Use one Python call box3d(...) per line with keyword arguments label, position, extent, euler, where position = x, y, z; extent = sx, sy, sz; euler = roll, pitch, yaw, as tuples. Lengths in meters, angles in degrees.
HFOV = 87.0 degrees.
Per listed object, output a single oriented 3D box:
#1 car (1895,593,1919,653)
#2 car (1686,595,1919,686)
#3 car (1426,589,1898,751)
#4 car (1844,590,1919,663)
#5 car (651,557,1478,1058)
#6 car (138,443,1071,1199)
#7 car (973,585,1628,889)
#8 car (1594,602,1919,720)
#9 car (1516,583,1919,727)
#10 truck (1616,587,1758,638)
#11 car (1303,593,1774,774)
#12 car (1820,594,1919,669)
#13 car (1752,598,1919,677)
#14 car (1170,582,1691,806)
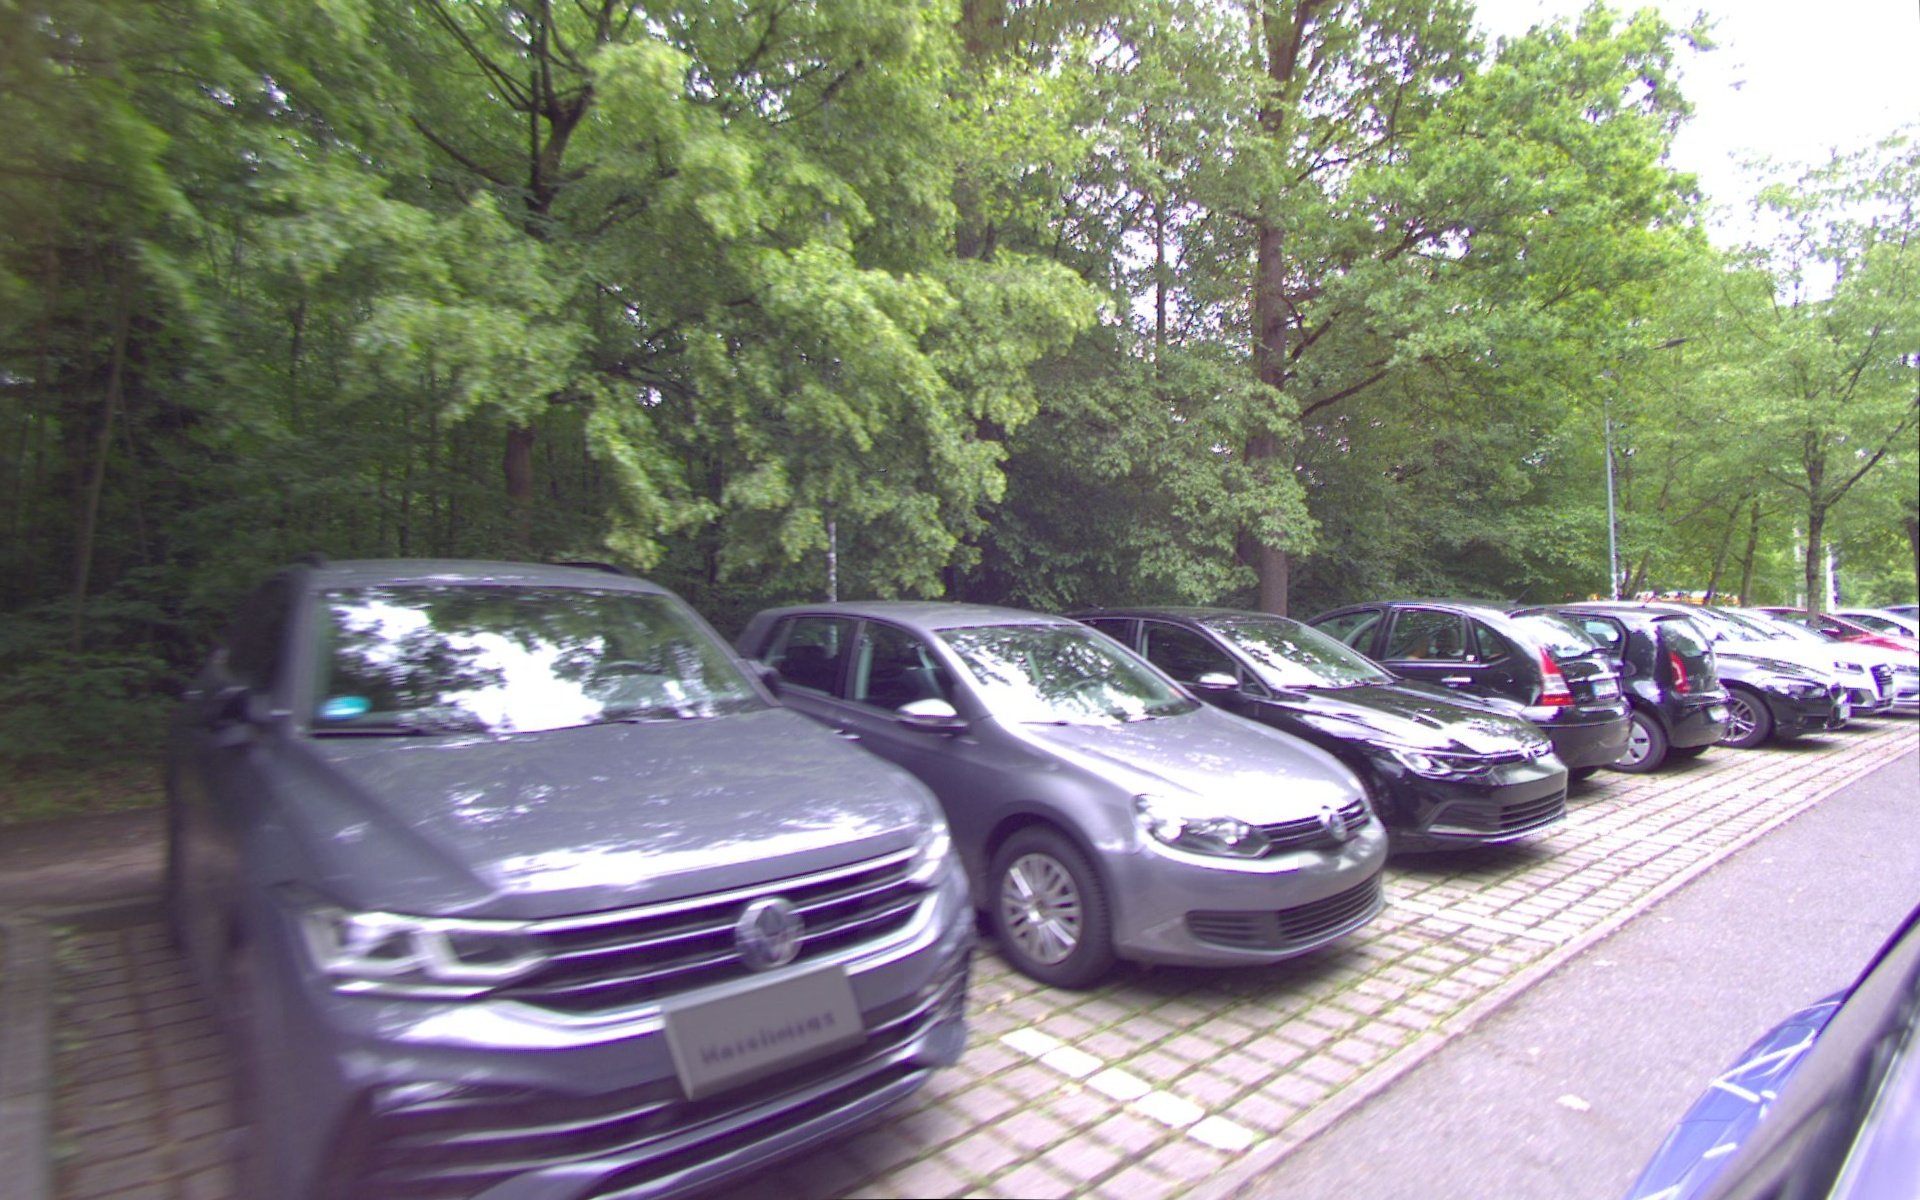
box3d(label="car", position=(25.905, 0.588, 25.060), extent=(1.717, 1.530, 3.716), euler=(0, 0, -32))
box3d(label="car", position=(15.320, 0.671, 17.886), extent=(1.839, 1.459, 3.797), euler=(1, -1, -44))
box3d(label="car", position=(7.944, 0.680, 11.796), extent=(1.859, 1.531, 4.195), euler=(1, -1, -40))
box3d(label="car", position=(22.275, 0.605, 22.333), extent=(1.911, 1.610, 3.782), euler=(1, -1, -33))
box3d(label="car", position=(0.257, 0.659, 5.292), extent=(3.987, 1.571, 1.944), euler=(0, -1, 45))
box3d(label="car", position=(-1.795, 0.612, 3.801), extent=(1.923, 1.687, 4.273), euler=(0, -1, -40))
box3d(label="car", position=(2.094, 0.679, 7.144), extent=(1.917, 1.494, 3.996), euler=(0, 0, -39))
box3d(label="car", position=(11.871, 0.801, 14.852), extent=(1.850, 1.503, 3.984), euler=(1, -1, -39))
box3d(label="car", position=(9.877, 0.627, 13.363), extent=(1.940, 1.579, 4.021), euler=(1, -1, -35))
box3d(label="truck", position=(54.360, 0.910, 75.927), extent=(2.810, 3.560, 8.255), euler=(2, -1, -30))
box3d(label="car", position=(5.725, 0.675, 10.406), extent=(1.776, 1.475, 3.837), euler=(0, 1, -38))
box3d(label="car", position=(19.948, 0.638, 20.353), extent=(1.741, 1.500, 3.778), euler=(1, -1, -37))
box3d(label="car", position=(17.816, 0.689, 19.282), extent=(1.842, 1.429, 3.944), euler=(1, -1, -35))
box3d(label="car", position=(3.984, 0.623, 9.064), extent=(1.818, 1.550, 3.835), euler=(0, 1, -39))
